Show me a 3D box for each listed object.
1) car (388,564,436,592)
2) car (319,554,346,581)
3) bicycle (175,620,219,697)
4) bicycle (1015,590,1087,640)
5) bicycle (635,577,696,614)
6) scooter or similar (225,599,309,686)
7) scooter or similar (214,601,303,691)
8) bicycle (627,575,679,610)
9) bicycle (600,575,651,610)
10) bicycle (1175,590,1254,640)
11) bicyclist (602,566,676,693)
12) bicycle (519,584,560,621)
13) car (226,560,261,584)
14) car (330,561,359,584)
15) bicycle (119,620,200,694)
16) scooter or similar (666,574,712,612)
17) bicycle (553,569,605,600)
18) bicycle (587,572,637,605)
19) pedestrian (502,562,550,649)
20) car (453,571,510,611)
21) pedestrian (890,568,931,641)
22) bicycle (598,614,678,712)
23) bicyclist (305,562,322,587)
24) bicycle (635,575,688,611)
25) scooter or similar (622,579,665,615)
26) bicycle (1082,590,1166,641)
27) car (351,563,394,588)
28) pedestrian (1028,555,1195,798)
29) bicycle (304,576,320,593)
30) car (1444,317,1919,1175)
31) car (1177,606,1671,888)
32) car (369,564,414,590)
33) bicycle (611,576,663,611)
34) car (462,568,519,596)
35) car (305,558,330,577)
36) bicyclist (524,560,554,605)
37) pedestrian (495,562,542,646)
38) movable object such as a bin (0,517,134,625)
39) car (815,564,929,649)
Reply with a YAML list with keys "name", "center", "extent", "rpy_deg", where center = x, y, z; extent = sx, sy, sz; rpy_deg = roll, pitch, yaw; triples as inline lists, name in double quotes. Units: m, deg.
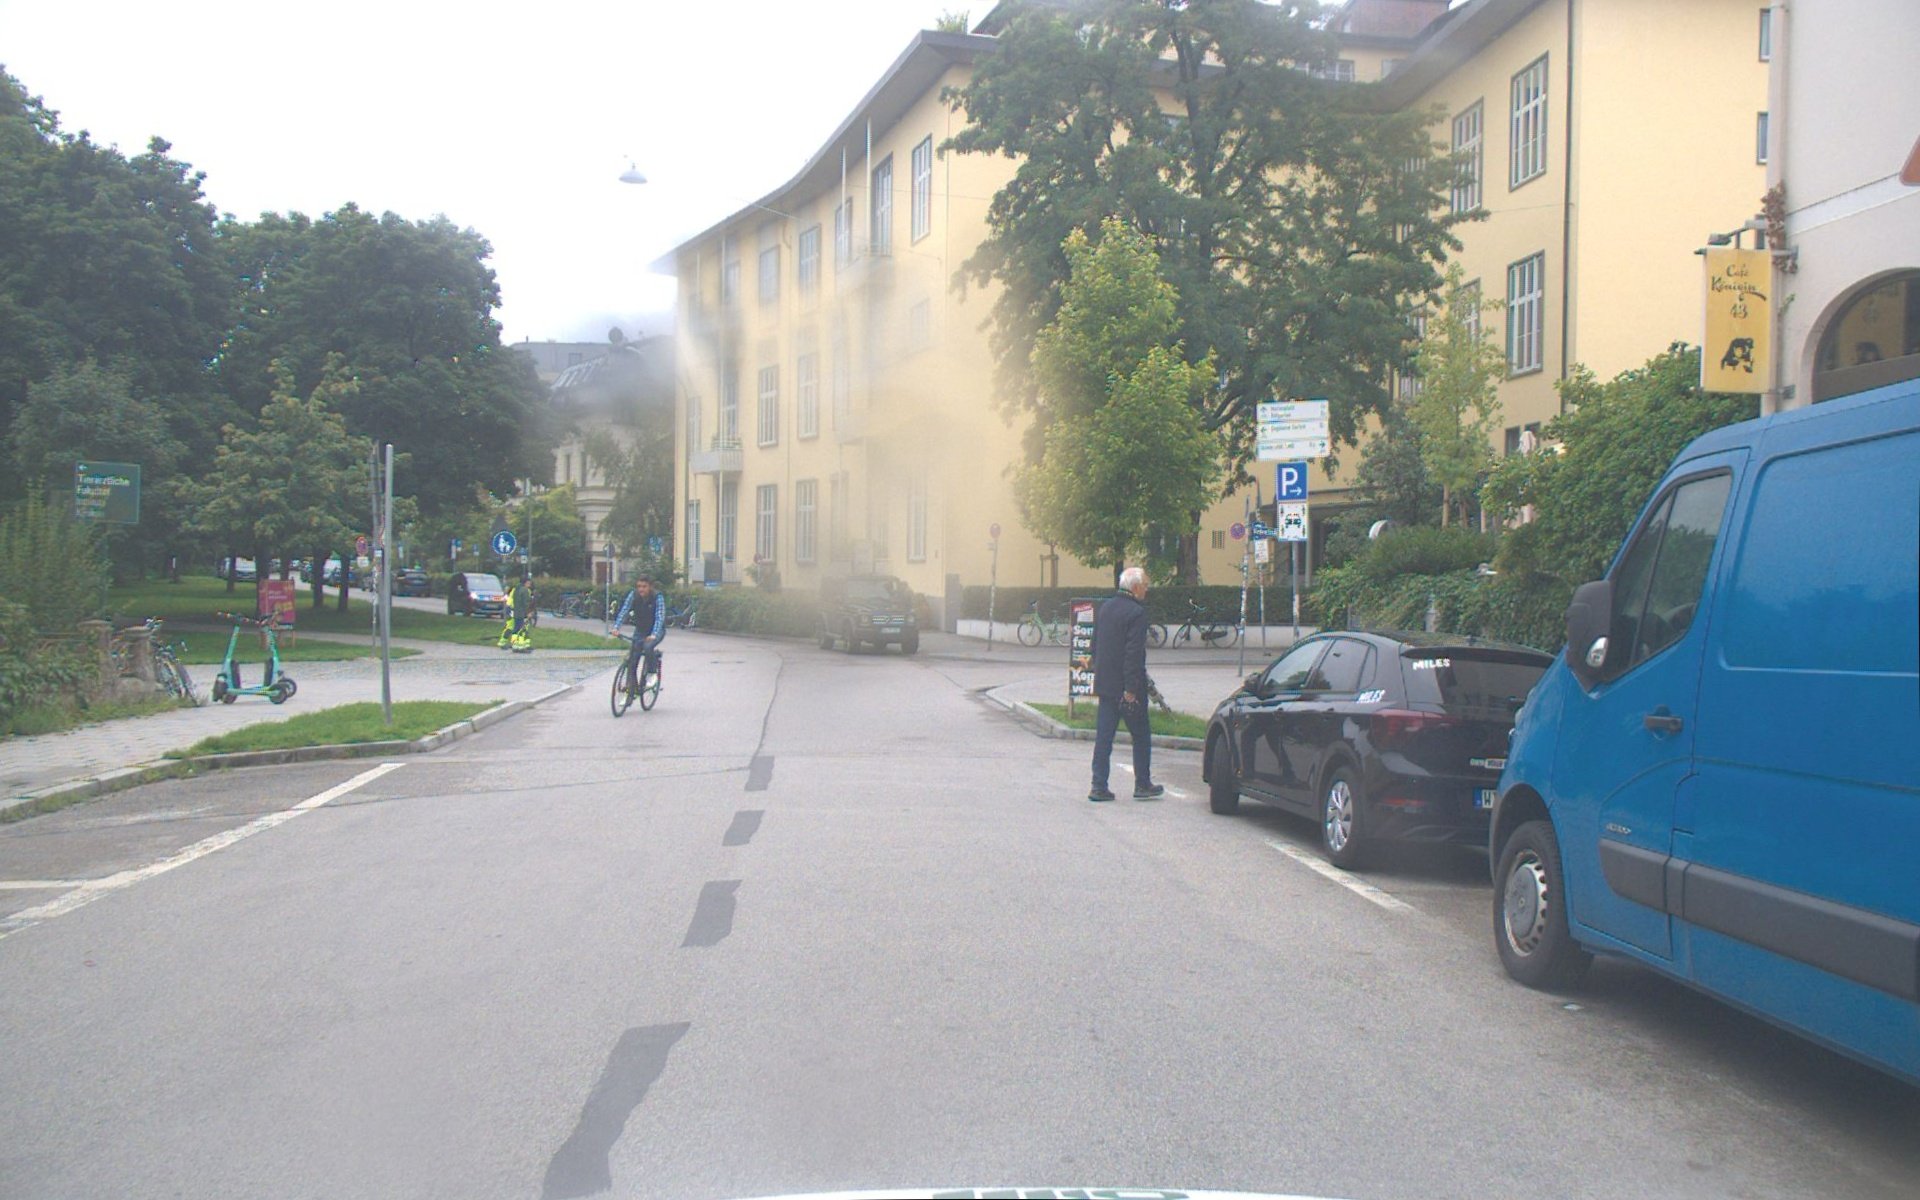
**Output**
- name: "car"
  center: [-33.715, -1.358, 101.666]
  extent: [1.974, 1.634, 3.957]
  rpy_deg: [0, 1, -32]
- name: "car"
  center: [-50.443, -2.597, 132.895]
  extent: [1.966, 2.197, 3.973]
  rpy_deg: [0, 1, -22]
- name: "bicycle"
  center: [-10.391, 0.786, 22.529]
  extent: [0.535, 0.991, 1.145]
  rpy_deg: [0, 1, -25]
- name: "bicycle"
  center: [2.361, 0.381, 43.039]
  extent: [1.893, 1.222, 0.592]
  rpy_deg: [2, 1, 41]
- name: "bicycle"
  center: [-10.731, -0.160, 60.238]
  extent: [2.138, 1.328, 0.723]
  rpy_deg: [0, 1, -43]
- name: "scooter or similar"
  center: [-9.956, 0.599, 23.783]
  extent: [0.338, 1.208, 1.116]
  rpy_deg: [1, 1, 32]
- name: "scooter or similar"
  center: [-9.762, 0.637, 23.011]
  extent: [1.092, 1.208, 0.345]
  rpy_deg: [1, 1, 5]
- name: "bicycle"
  center: [-11.706, -0.303, 63.118]
  extent: [0.718, 1.328, 2.152]
  rpy_deg: [1, 1, 30]
- name: "bicycle"
  center: [-13.079, -0.313, 64.640]
  extent: [0.718, 1.328, 2.152]
  rpy_deg: [1, 1, 30]
- name: "bicycle"
  center: [6.391, 0.368, 41.587]
  extent: [1.883, 1.222, 0.595]
  rpy_deg: [1, 1, -1]
- name: "bicyclist"
  center: [-4.202, 0.376, 21.728]
  extent: [0.846, 1.635, 0.946]
  rpy_deg: [1, 0, -6]
- name: "bicycle"
  center: [-14.610, 0.083, 57.396]
  extent: [0.736, 1.236, 2.119]
  rpy_deg: [-1, 1, -33]
- name: "car"
  center: [-52.555, -2.031, 121.349]
  extent: [1.972, 1.720, 3.960]
  rpy_deg: [0, 1, -30]
- name: "car"
  center: [-46.431, -2.071, 124.697]
  extent: [1.966, 1.634, 3.973]
  rpy_deg: [0, 1, -22]
- name: "bicycle"
  center: [-11.465, 0.801, 23.667]
  extent: [1.551, 1.008, 0.300]
  rpy_deg: [0, 1, 34]
- name: "scooter or similar"
  center: [-9.716, -0.249, 59.418]
  extent: [0.717, 1.328, 2.157]
  rpy_deg: [1, 1, 18]
- name: "bicycle"
  center: [-16.561, -0.672, 71.969]
  extent: [2.119, 1.328, 0.729]
  rpy_deg: [0, 1, -23]
- name: "bicycle"
  center: [-13.924, -0.468, 66.310]
  extent: [0.718, 1.328, 2.152]
  rpy_deg: [1, 1, 30]
- name: "pedestrian"
  center: [-10.378, 0.112, 39.583]
  extent: [0.912, 2.049, 0.956]
  rpy_deg: [1, 1, -1]
- name: "car"
  center: [-19.373, -0.382, 66.897]
  extent: [1.887, 1.496, 3.975]
  rpy_deg: [0, 1, -21]
- name: "pedestrian"
  center: [-1.265, 0.109, 42.504]
  extent: [0.860, 1.855, 0.795]
  rpy_deg: [1, 1, -17]
- name: "bicycle"
  center: [-4.201, 0.796, 21.695]
  extent: [0.656, 1.179, 2.003]
  rpy_deg: [1, 0, 0]
- name: "bicyclist"
  center: [-38.920, -1.525, 99.552]
  extent: [0.787, 1.496, 0.885]
  rpy_deg: [0, 1, -30]
- name: "bicycle"
  center: [-11.231, -0.272, 62.305]
  extent: [0.718, 1.328, 2.152]
  rpy_deg: [1, 1, 30]
- name: "scooter or similar"
  center: [-12.149, -0.130, 63.462]
  extent: [0.718, 1.328, 1.729]
  rpy_deg: [1, 1, 27]
- name: "bicycle"
  center: [4.141, 0.386, 41.746]
  extent: [2.024, 1.222, 0.596]
  rpy_deg: [1, 1, 17]
- name: "car"
  center: [-39.503, -1.662, 111.217]
  extent: [1.974, 1.634, 3.957]
  rpy_deg: [0, 1, -32]
- name: "pedestrian"
  center: [1.207, 0.570, 13.164]
  extent: [0.949, 1.832, 0.921]
  rpy_deg: [0, 0, -43]
- name: "bicycle"
  center: [-38.997, -0.937, 99.523]
  extent: [0.632, 0.984, 1.976]
  rpy_deg: [0, 1, -29]
- name: "car"
  center: [3.532, 0.450, 5.374]
  extent: [2.038, 2.272, 5.241]
  rpy_deg: [5, -1, -3]
- name: "car"
  center: [2.947, 0.862, 11.578]
  extent: [1.646, 1.413, 4.298]
  rpy_deg: [4, 0, -8]
- name: "car"
  center: [-36.599, -1.510, 106.444]
  extent: [1.974, 1.634, 3.957]
  rpy_deg: [0, 1, -32]
- name: "bicycle"
  center: [-12.489, -0.265, 64.000]
  extent: [0.718, 1.328, 2.152]
  rpy_deg: [1, 1, 30]
- name: "car"
  center: [-24.059, -0.948, 84.685]
  extent: [1.972, 1.396, 3.960]
  rpy_deg: [0, 1, -30]
- name: "car"
  center: [-55.589, -2.786, 143.089]
  extent: [1.966, 1.634, 3.973]
  rpy_deg: [0, 1, -22]
- name: "bicyclist"
  center: [-14.613, -0.608, 57.397]
  extent: [0.736, 1.547, 0.934]
  rpy_deg: [-1, 1, -34]
- name: "pedestrian"
  center: [-10.925, 0.099, 40.971]
  extent: [0.912, 2.049, 0.956]
  rpy_deg: [1, 1, -1]
- name: "movable object such as a bin"
  center: [-28.641, -0.912, 52.412]
  extent: [1.956, 3.269, 3.994]
  rpy_deg: [0, 1, 29]
- name: "car"
  center: [-2.325, 0.126, 42.357]
  extent: [1.735, 1.906, 4.357]
  rpy_deg: [4, 0, -18]
